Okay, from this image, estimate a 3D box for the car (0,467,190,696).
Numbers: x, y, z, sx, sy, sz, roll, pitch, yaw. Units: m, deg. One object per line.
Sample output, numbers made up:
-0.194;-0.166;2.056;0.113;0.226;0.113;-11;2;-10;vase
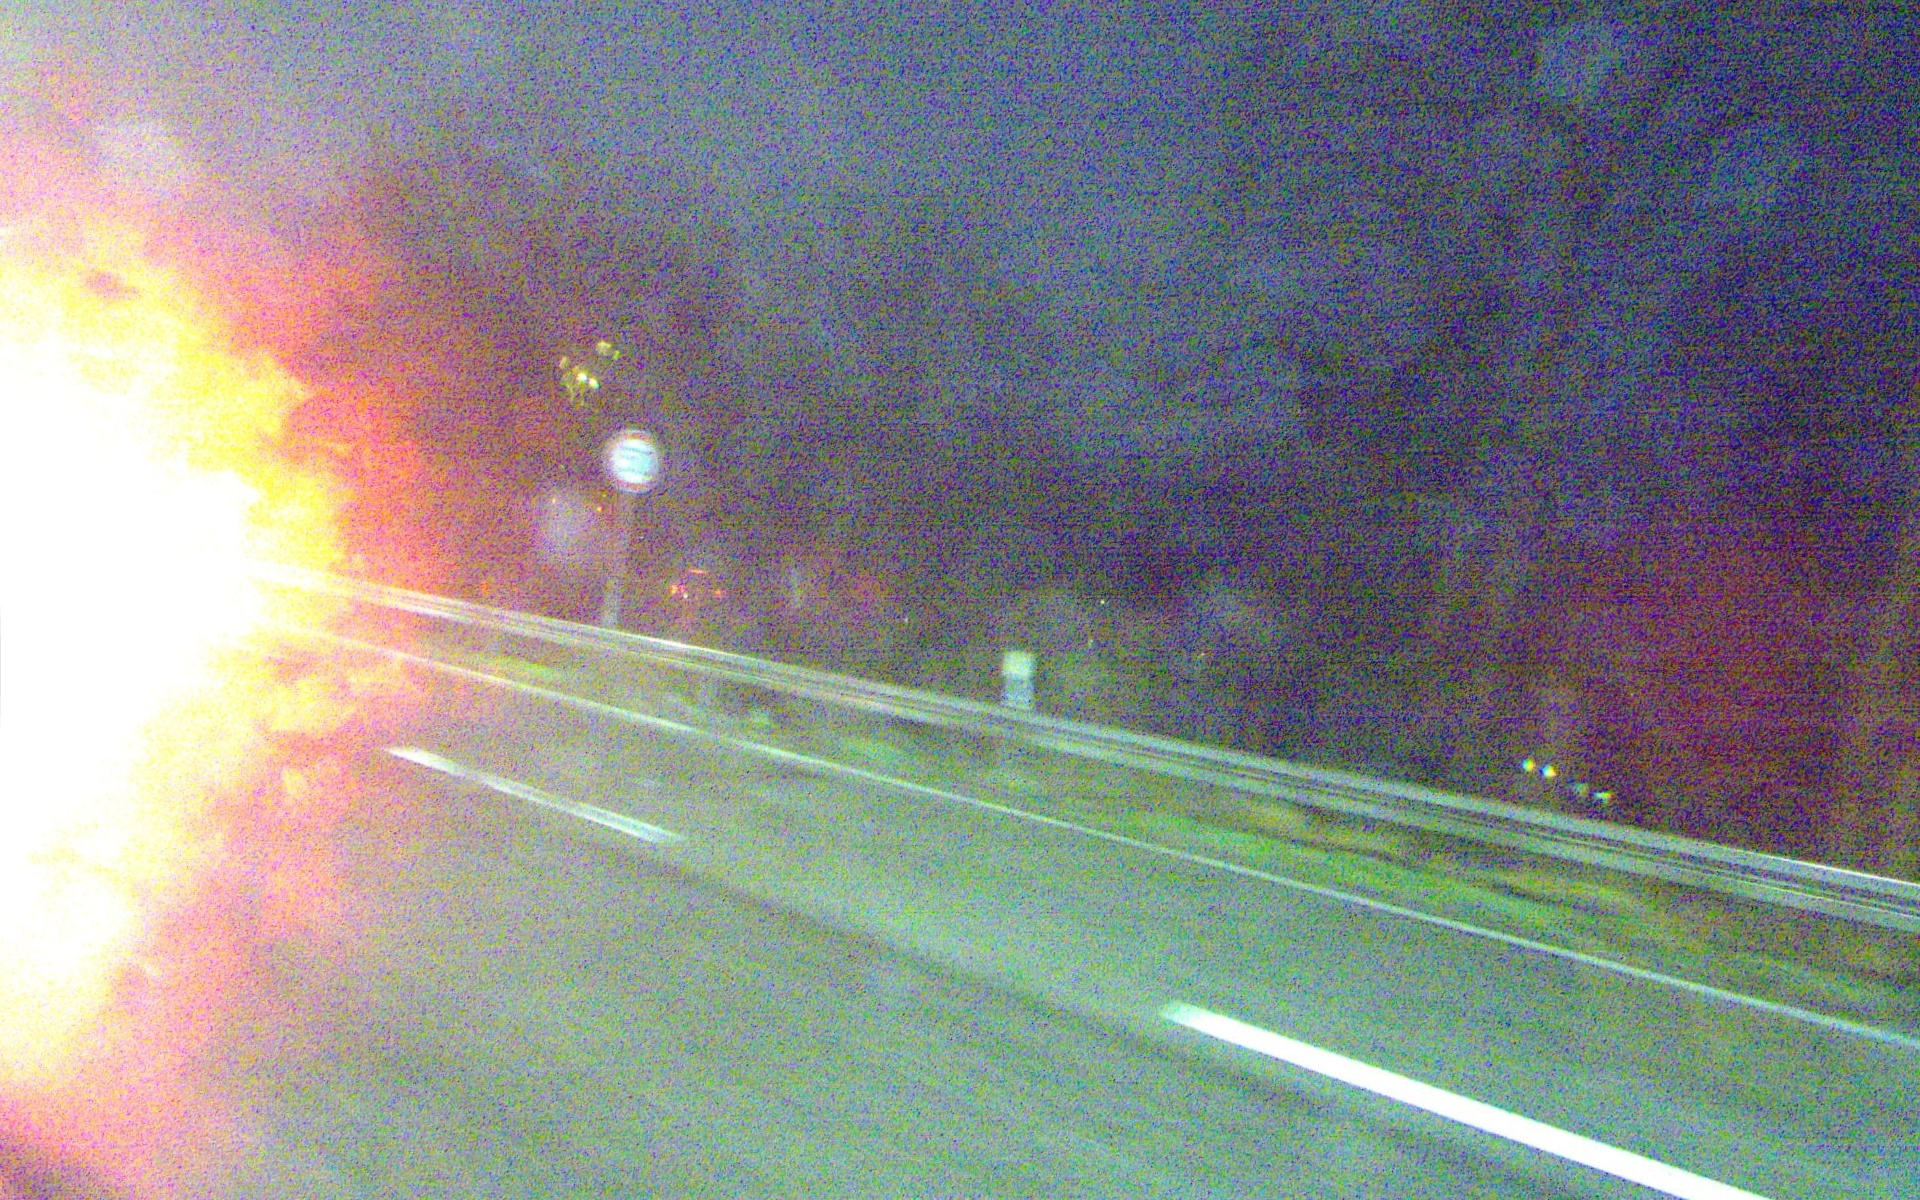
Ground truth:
-8.222;-0.316;8.082;3.711;1.583;1.744;7;-1;28;car
